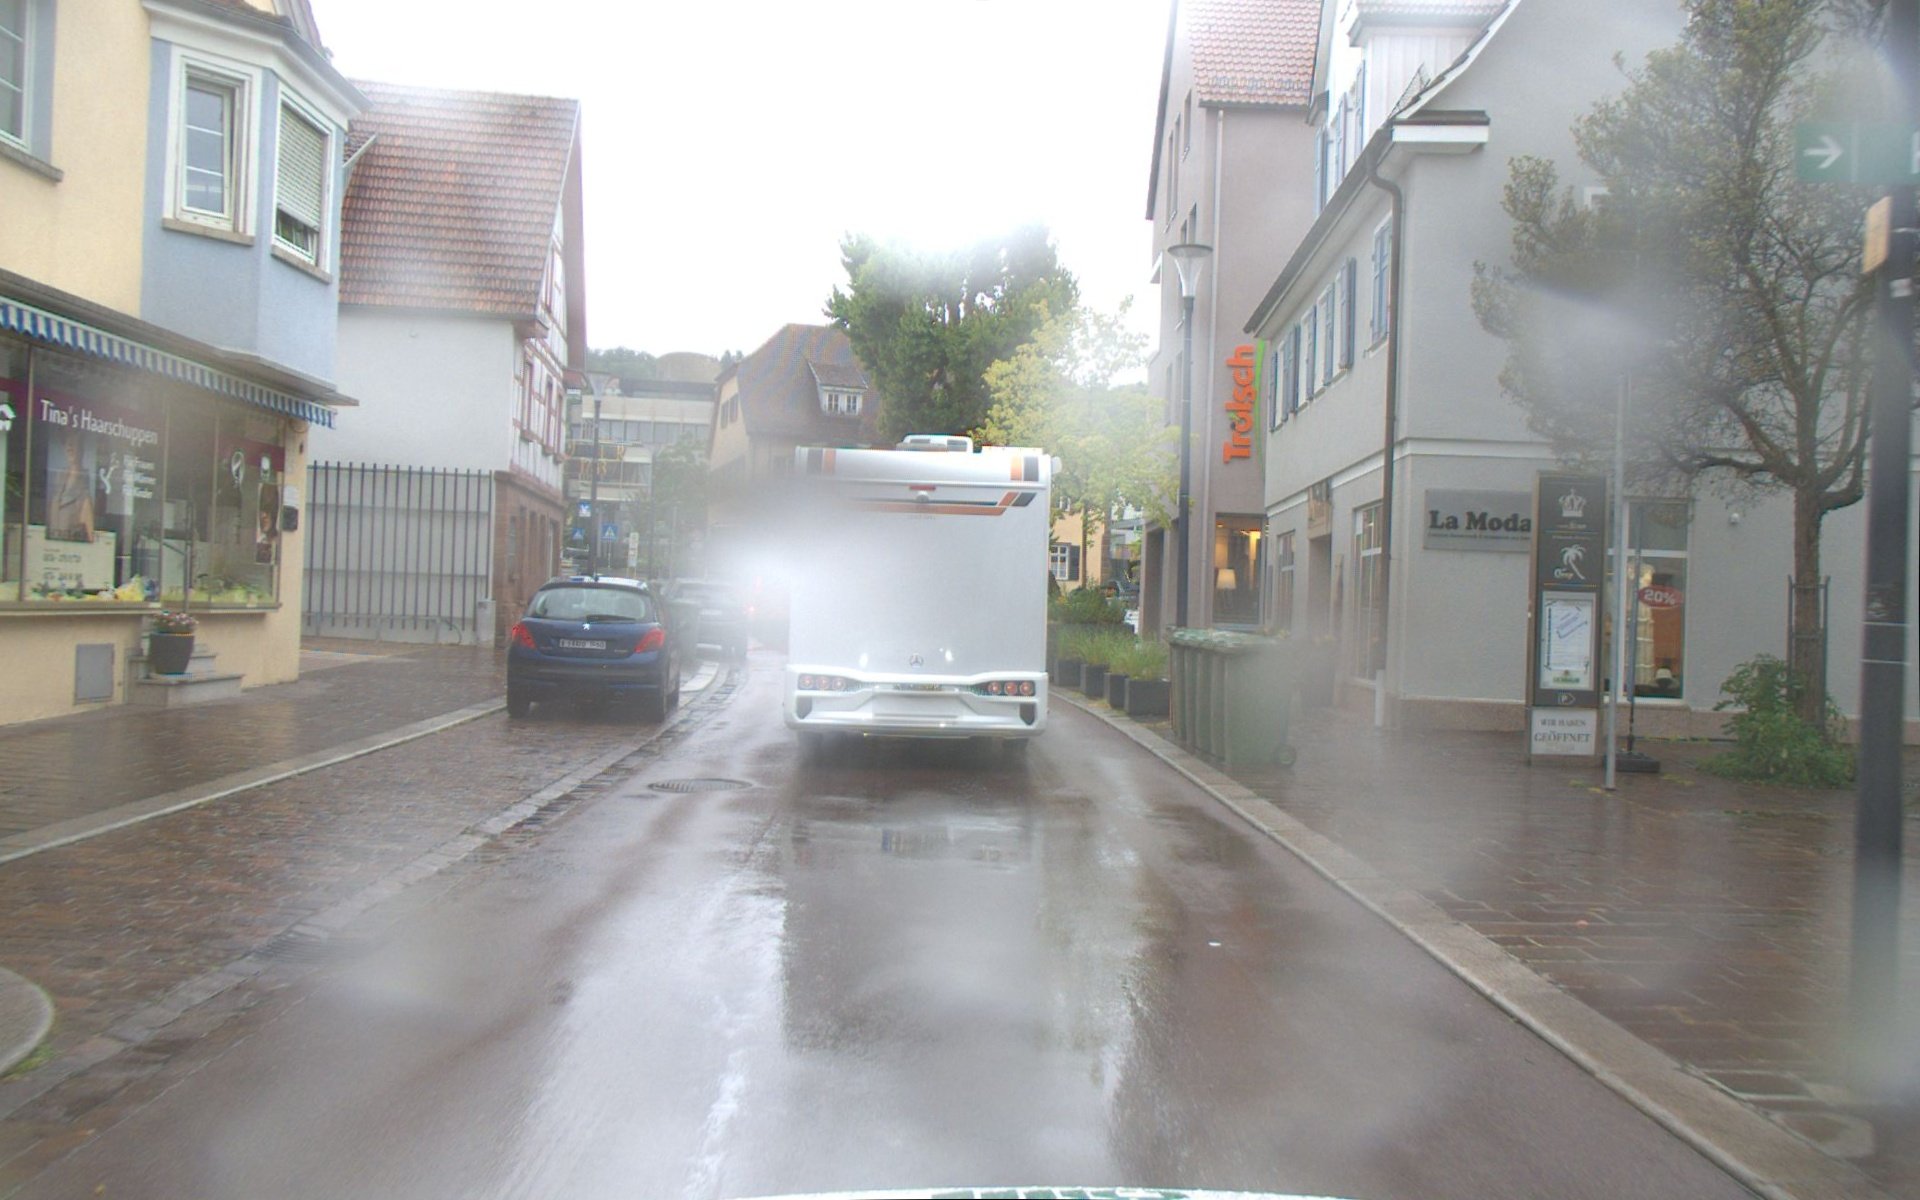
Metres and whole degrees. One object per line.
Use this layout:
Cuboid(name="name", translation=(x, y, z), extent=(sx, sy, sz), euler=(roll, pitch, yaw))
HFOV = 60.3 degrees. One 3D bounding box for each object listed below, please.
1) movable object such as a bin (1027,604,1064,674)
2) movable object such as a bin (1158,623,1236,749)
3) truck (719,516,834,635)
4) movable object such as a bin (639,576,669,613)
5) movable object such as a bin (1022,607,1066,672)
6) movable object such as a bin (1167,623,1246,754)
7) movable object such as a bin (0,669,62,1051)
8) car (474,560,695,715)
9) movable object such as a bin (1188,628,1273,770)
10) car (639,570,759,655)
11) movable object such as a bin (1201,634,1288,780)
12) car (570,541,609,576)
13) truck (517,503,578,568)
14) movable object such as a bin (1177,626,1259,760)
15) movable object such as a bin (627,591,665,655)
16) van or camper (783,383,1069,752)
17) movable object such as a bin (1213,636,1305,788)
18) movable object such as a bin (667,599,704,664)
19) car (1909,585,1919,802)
Cuboid(name="movable object such as a bin", translation=(1.466, 0.669, 28.443), extent=(0.533, 1.176, 0.576), euler=(2, -1, -4))
Cuboid(name="movable object such as a bin", translation=(2.453, 0.878, 17.199), extent=(0.664, 1.262, 0.731), euler=(2, -1, -2))
Cuboid(name="truck", translation=(-5.161, -0.609, 45.635), extent=(2.419, 2.990, 6.178), euler=(2, -1, -13))
Cuboid(name="movable object such as a bin", translation=(-9.063, -0.164, 48.962), extent=(0.805, 1.069, 0.696), euler=(2, -1, -17))
Cuboid(name="movable object such as a bin", translation=(1.468, 0.685, 29.064), extent=(0.679, 1.121, 0.561), euler=(2, -1, -4))
Cuboid(name="movable object such as a bin", translation=(2.463, 0.876, 16.544), extent=(0.664, 1.272, 0.564), euler=(2, -1, -2))
Cuboid(name="movable object such as a bin", translation=(-3.214, 0.754, 4.805), extent=(0.799, 1.125, 0.609), euler=(5, -1, -6))
Cuboid(name="car", translation=(-4.140, 0.360, 18.849), extent=(1.955, 1.497, 3.995), euler=(3, 0, -6))
Cuboid(name="movable object such as a bin", translation=(2.517, 0.907, 15.405), extent=(0.664, 1.278, 0.542), euler=(2, -1, -2))
Cuboid(name="car", translation=(-5.399, 0.209, 33.836), extent=(1.960, 1.520, 3.985), euler=(3, 1, -15))
Cuboid(name="movable object such as a bin", translation=(2.546, 0.950, 14.851), extent=(0.645, 1.267, 0.542), euler=(2, -1, -2))
Cuboid(name="car", translation=(-23.765, -2.652, 105.915), extent=(1.963, 2.049, 3.978), euler=(2, -1, -19))
Cuboid(name="truck", translation=(-19.976, -3.060, 80.010), extent=(2.246, 2.806, 5.536), euler=(2, -1, -20))
Cuboid(name="movable object such as a bin", translation=(2.485, 0.884, 15.970), extent=(0.664, 1.254, 0.564), euler=(2, -1, -2))
Cuboid(name="movable object such as a bin", translation=(-5.610, 0.412, 29.558), extent=(0.618, 1.070, 0.732), euler=(2, 3, -9))
Cuboid(name="van or camper", translation=(-0.477, -0.232, 16.797), extent=(2.280, 2.970, 6.388), euler=(2, -1, -4))
Cuboid(name="movable object such as a bin", translation=(2.570, 0.952, 14.265), extent=(0.645, 1.260, 0.621), euler=(2, -1, -2))
Cuboid(name="movable object such as a bin", translation=(-4.926, 0.563, 29.705), extent=(0.618, 1.133, 0.732), euler=(2, -1, -9))
Cuboid(name="car", translation=(9.443, 0.709, 14.004), extent=(1.790, 1.684, 4.339), euler=(1, 1, 39))
